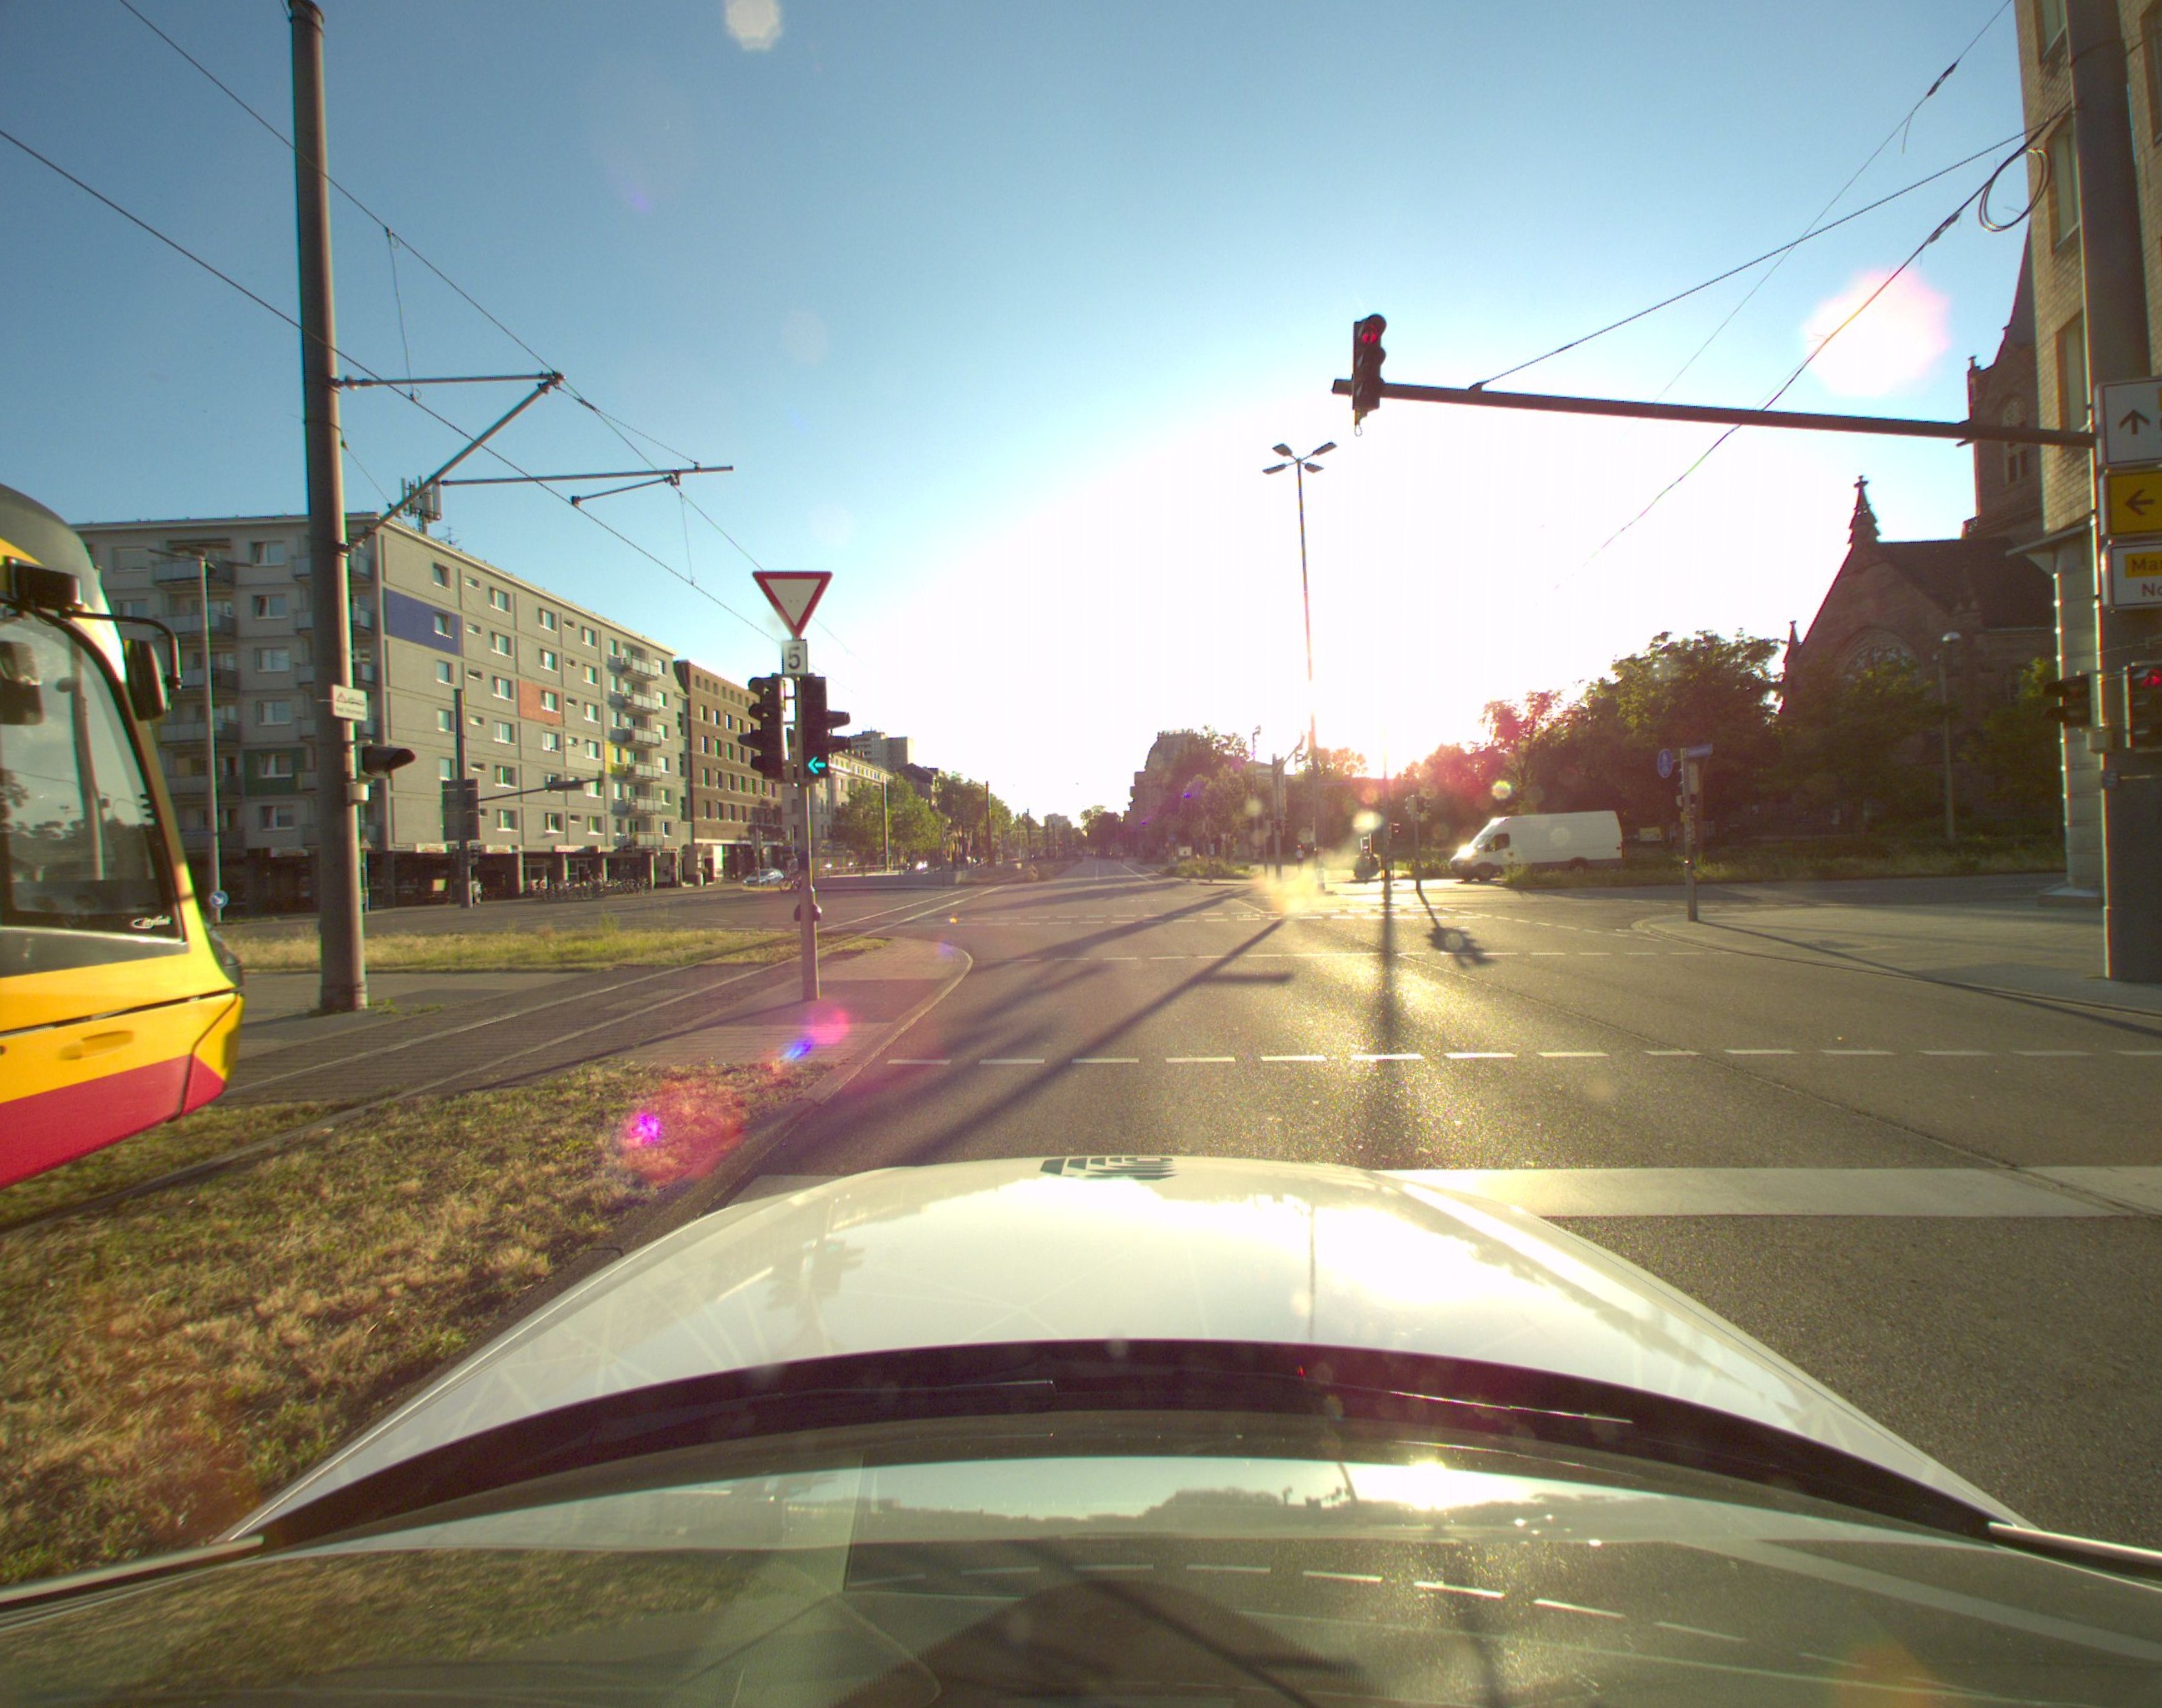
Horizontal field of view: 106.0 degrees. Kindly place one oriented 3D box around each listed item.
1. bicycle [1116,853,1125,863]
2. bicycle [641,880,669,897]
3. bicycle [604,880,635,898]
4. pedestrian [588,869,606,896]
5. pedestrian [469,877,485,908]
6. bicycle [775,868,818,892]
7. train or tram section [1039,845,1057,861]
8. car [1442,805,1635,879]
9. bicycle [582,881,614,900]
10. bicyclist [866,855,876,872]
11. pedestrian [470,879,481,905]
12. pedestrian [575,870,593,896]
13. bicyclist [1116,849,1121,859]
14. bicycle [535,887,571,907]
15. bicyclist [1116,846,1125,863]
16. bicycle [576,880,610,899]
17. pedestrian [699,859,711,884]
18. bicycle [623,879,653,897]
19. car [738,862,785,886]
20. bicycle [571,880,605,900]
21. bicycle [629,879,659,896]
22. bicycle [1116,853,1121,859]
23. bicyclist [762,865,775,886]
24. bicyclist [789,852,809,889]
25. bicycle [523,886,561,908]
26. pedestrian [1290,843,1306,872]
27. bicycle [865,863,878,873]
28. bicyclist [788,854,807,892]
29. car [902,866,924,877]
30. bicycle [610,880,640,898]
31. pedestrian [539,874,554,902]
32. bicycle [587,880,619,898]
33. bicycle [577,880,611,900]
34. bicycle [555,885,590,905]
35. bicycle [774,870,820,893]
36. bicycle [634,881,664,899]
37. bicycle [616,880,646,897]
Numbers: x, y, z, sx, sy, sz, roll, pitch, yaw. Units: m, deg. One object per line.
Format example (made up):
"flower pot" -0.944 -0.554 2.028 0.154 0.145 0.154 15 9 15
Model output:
"bicycle" 5.370 0.528 110.254 1.094 1.399 2.833 -2 0 2
"bicycle" -30.946 2.527 59.156 1.683 1.144 0.697 -2 0 3
"bicycle" -31.151 2.386 54.981 1.748 1.117 0.552 -2 0 2
"pedestrian" -34.372 2.014 57.800 0.785 1.841 0.733 -2 0 -7
"pedestrian" -32.540 2.075 43.895 0.575 1.620 0.598 -2 0 -29
"bicycle" -14.004 1.293 40.135 1.904 1.075 0.629 -2 0 -15
"train or tram section" -8.555 -0.372 210.386 4.375 3.850 11.400 -2 0 -2
"car" 19.603 -0.494 35.156 6.981 2.827 2.095 -2 0 3
"bicycle" -31.877 2.382 53.756 1.769 1.159 0.606 -2 0 1
"bicyclist" -26.098 1.175 101.247 0.793 2.013 0.924 -2 0 4
"pedestrian" -32.946 2.047 44.292 0.383 1.383 0.392 -2 0 -26
"pedestrian" -35.373 2.044 57.971 0.826 1.812 0.719 -1 0 -9
"bicyclist" 7.523 0.034 163.862 0.922 2.013 0.851 -2 0 1
"bicycle" -32.314 2.605 49.844 1.770 1.142 0.608 -2 0 1
"bicyclist" 5.355 0.084 110.239 1.078 2.276 0.986 -2 0 1
"bicycle" -31.831 2.297 53.108 1.824 1.160 0.640 -2 0 1
"pedestrian" -33.920 1.585 73.508 0.599 2.178 0.792 -2 0 1
"bicycle" -30.968 2.374 56.887 1.683 1.153 0.706 -2 0 3
"car" -23.908 1.476 61.128 1.682 1.618 4.003 -3 0 3
"bicycle" -31.270 2.292 51.661 1.762 1.182 0.568 -2 0 1
"bicycle" -30.922 2.369 57.645 1.683 1.179 0.749 -2 0 3
"bicycle" 7.568 0.446 163.884 0.921 1.111 2.334 -2 0 2
"bicyclist" -27.432 1.881 71.409 0.697 1.742 0.794 -2 0 13
"bicyclist" -14.523 0.843 42.022 0.878 1.818 0.535 -2 0 -16
"bicycle" -32.288 2.587 48.775 1.788 1.208 0.638 -2 0 0
"pedestrian" 13.675 0.231 51.307 0.826 1.803 0.814 -2 0 17
"bicycle" -26.098 1.720 101.342 0.809 1.201 2.415 -2 0 4
"bicyclist" -13.981 0.922 40.149 0.794 1.818 0.643 -2 0 -15
"car" -23.527 2.467 113.928 1.810 1.420 4.006 -2 0 5
"bicycle" -31.112 2.381 55.567 1.754 1.119 0.568 -2 0 2
"pedestrian" -33.166 2.117 50.509 0.581 1.684 0.543 -2 0 -19
"bicycle" -31.942 2.356 54.423 1.764 1.136 0.606 -2 0 2
"bicycle" -31.269 2.327 52.309 1.782 1.191 0.652 -2 0 1
"bicycle" -31.534 2.531 50.491 1.750 1.139 0.600 -2 0 2
"bicycle" -14.631 1.420 41.983 2.168 1.083 0.536 -2 0 -16
"bicycle" -30.998 2.570 58.425 1.683 1.170 0.749 -2 0 3
"bicycle" -31.055 2.393 56.207 1.719 1.124 0.634 -2 -1 3
